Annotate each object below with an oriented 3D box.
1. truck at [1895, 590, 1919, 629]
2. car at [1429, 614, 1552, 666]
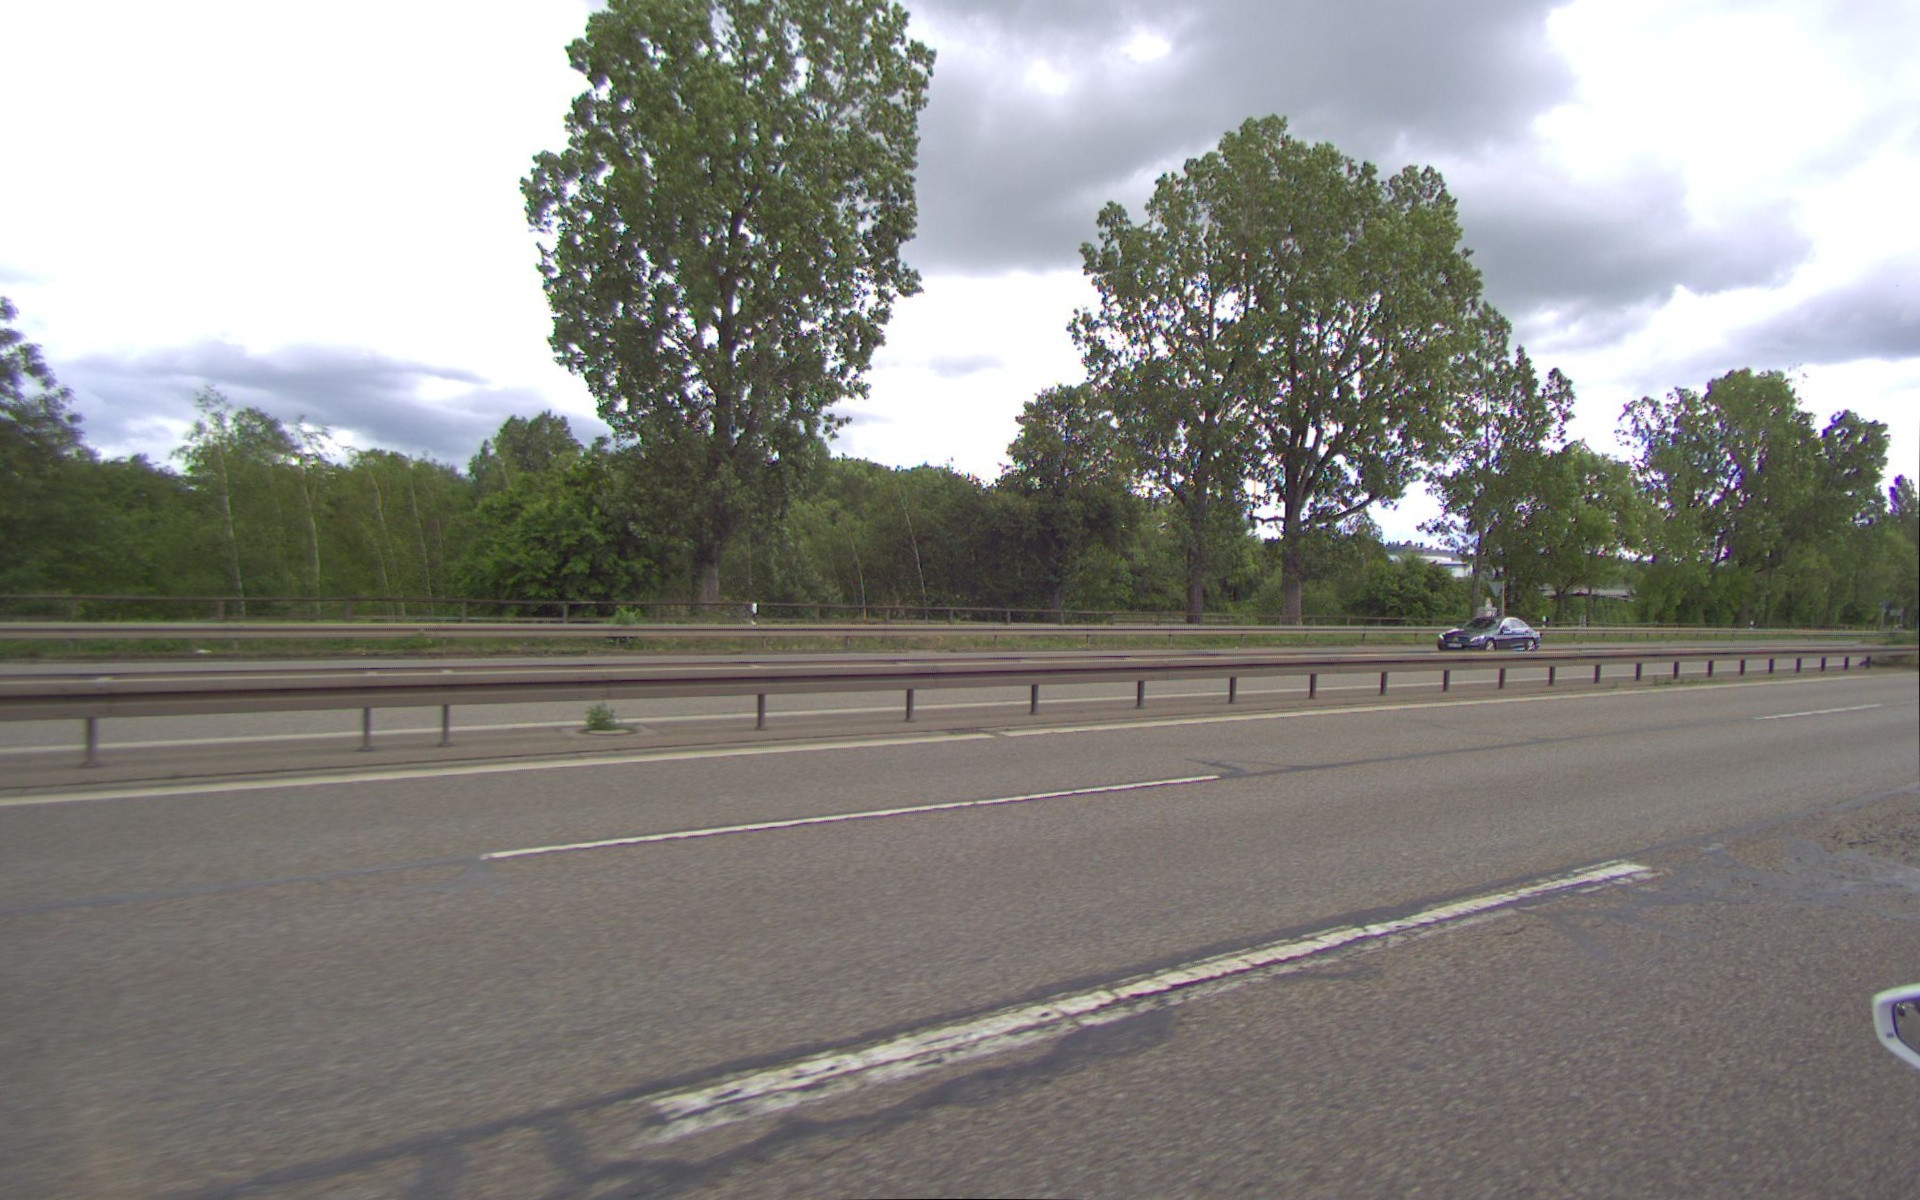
[{"bbox_3d":[95.211,0.994,99.290,6.280,3.693,2.960,1,3,-38],"label":"truck"},{"bbox_3d":[19.476,1.469,36.811,4.604,1.628,1.983,1,-8,-36],"label":"car"}]
